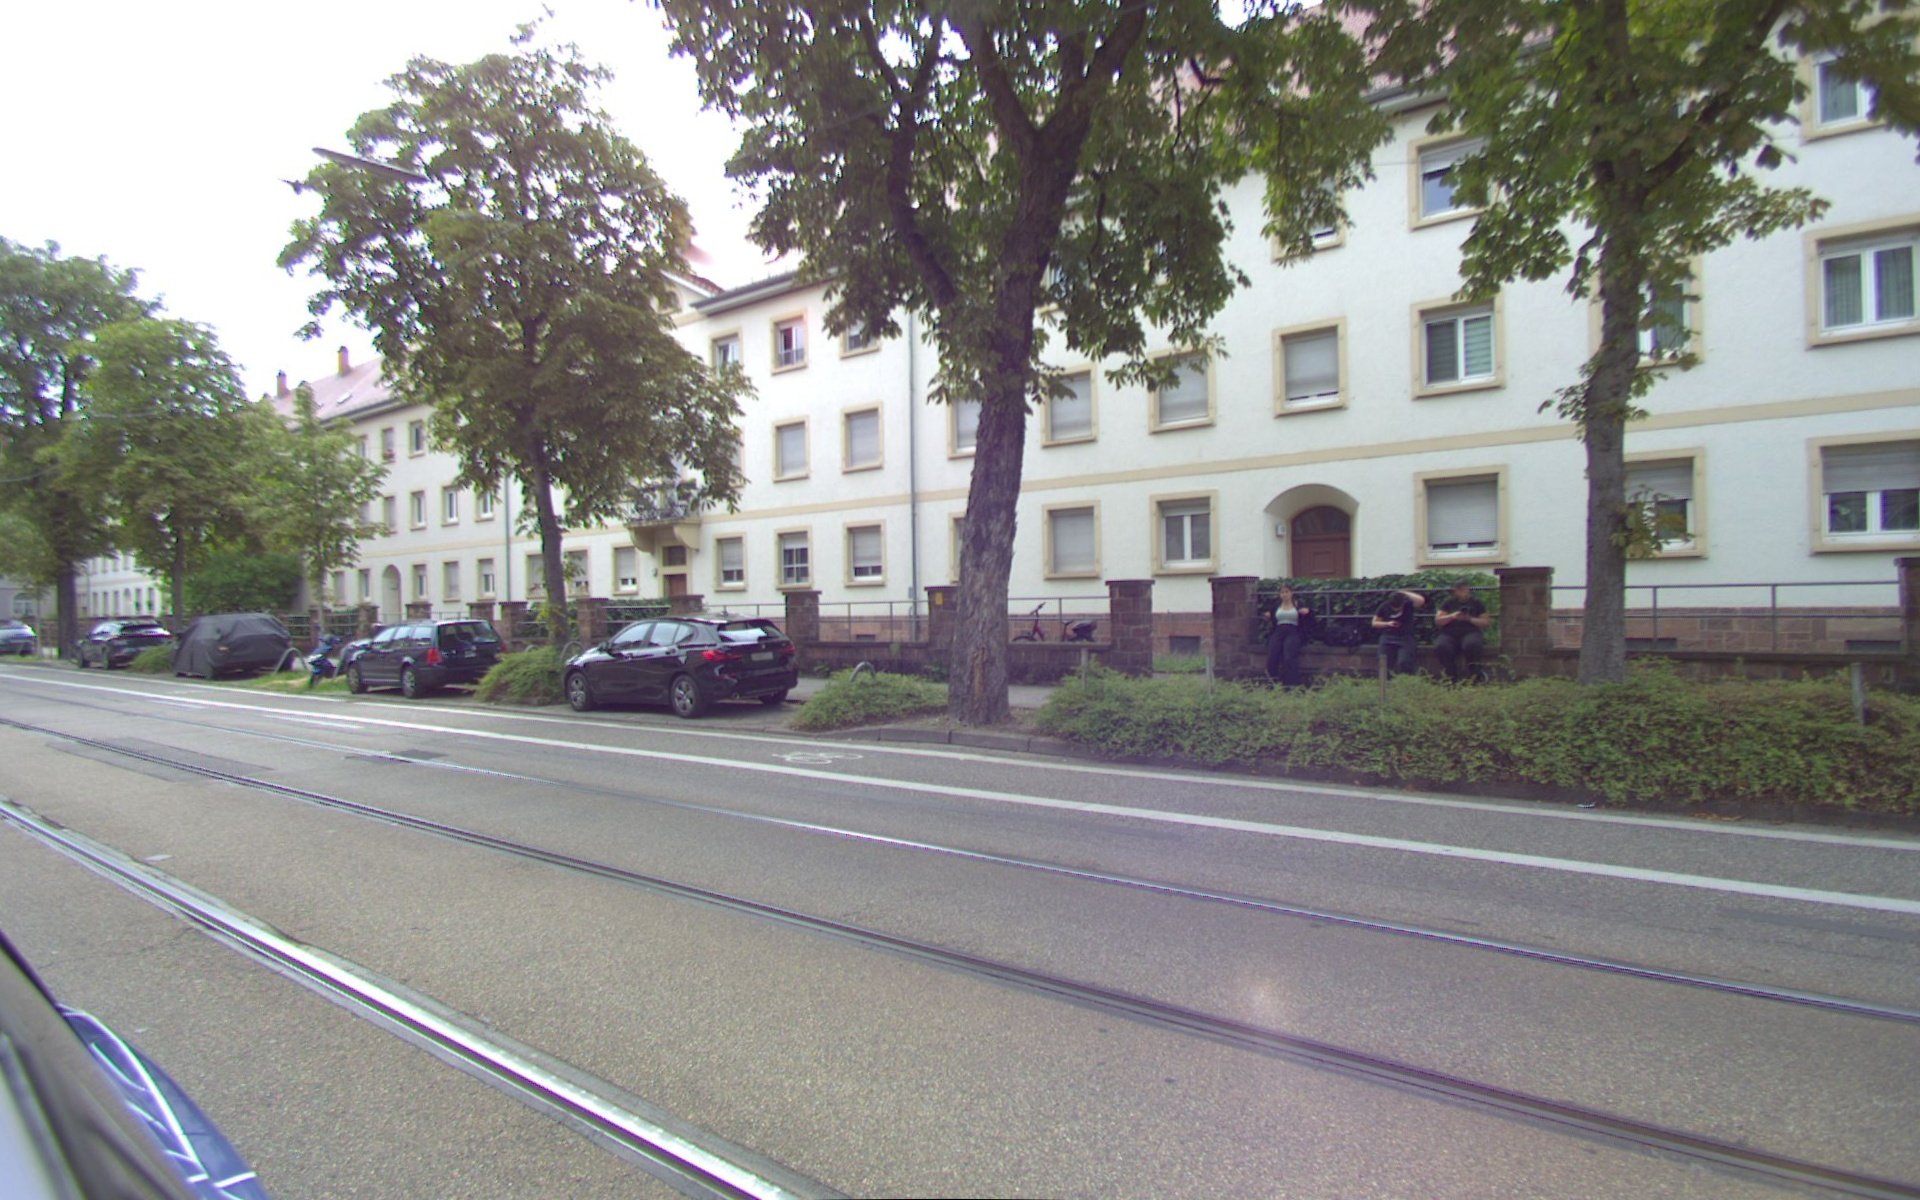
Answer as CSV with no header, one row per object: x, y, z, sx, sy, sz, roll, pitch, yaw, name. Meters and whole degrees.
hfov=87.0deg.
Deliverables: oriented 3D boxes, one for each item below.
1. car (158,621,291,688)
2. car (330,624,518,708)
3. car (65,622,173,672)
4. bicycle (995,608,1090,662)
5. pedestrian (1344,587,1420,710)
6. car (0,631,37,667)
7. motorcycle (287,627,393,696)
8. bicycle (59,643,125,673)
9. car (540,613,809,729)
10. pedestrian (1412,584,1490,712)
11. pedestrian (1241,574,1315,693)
-19.898,1.422,27.313,4.293,1.624,1.769,-2,-1,38,car
-10.820,1.258,20.318,4.293,1.434,1.681,-2,1,38,car
-27.391,1.508,32.933,4.290,1.481,1.682,-2,-1,36,car
1.366,0.584,16.927,1.548,0.869,0.504,-2,-1,38,bicycle
5.292,0.585,12.676,0.730,1.476,0.826,-2,-1,32,pedestrian
-42.429,2.155,44.604,4.290,1.481,1.682,-1,0,36,car
-13.908,1.346,22.747,0.590,1.269,1.852,-2,5,33,motorcycle
-30.830,2.062,35.963,0.670,0.978,1.656,-2,-1,28,bicycle
-4.463,1.010,15.511,4.293,1.434,1.681,-2,2,38,car
5.944,0.562,12.237,0.730,1.476,0.826,-2,-1,32,pedestrian
4.233,0.431,13.456,0.730,1.524,0.826,-2,-1,32,pedestrian
